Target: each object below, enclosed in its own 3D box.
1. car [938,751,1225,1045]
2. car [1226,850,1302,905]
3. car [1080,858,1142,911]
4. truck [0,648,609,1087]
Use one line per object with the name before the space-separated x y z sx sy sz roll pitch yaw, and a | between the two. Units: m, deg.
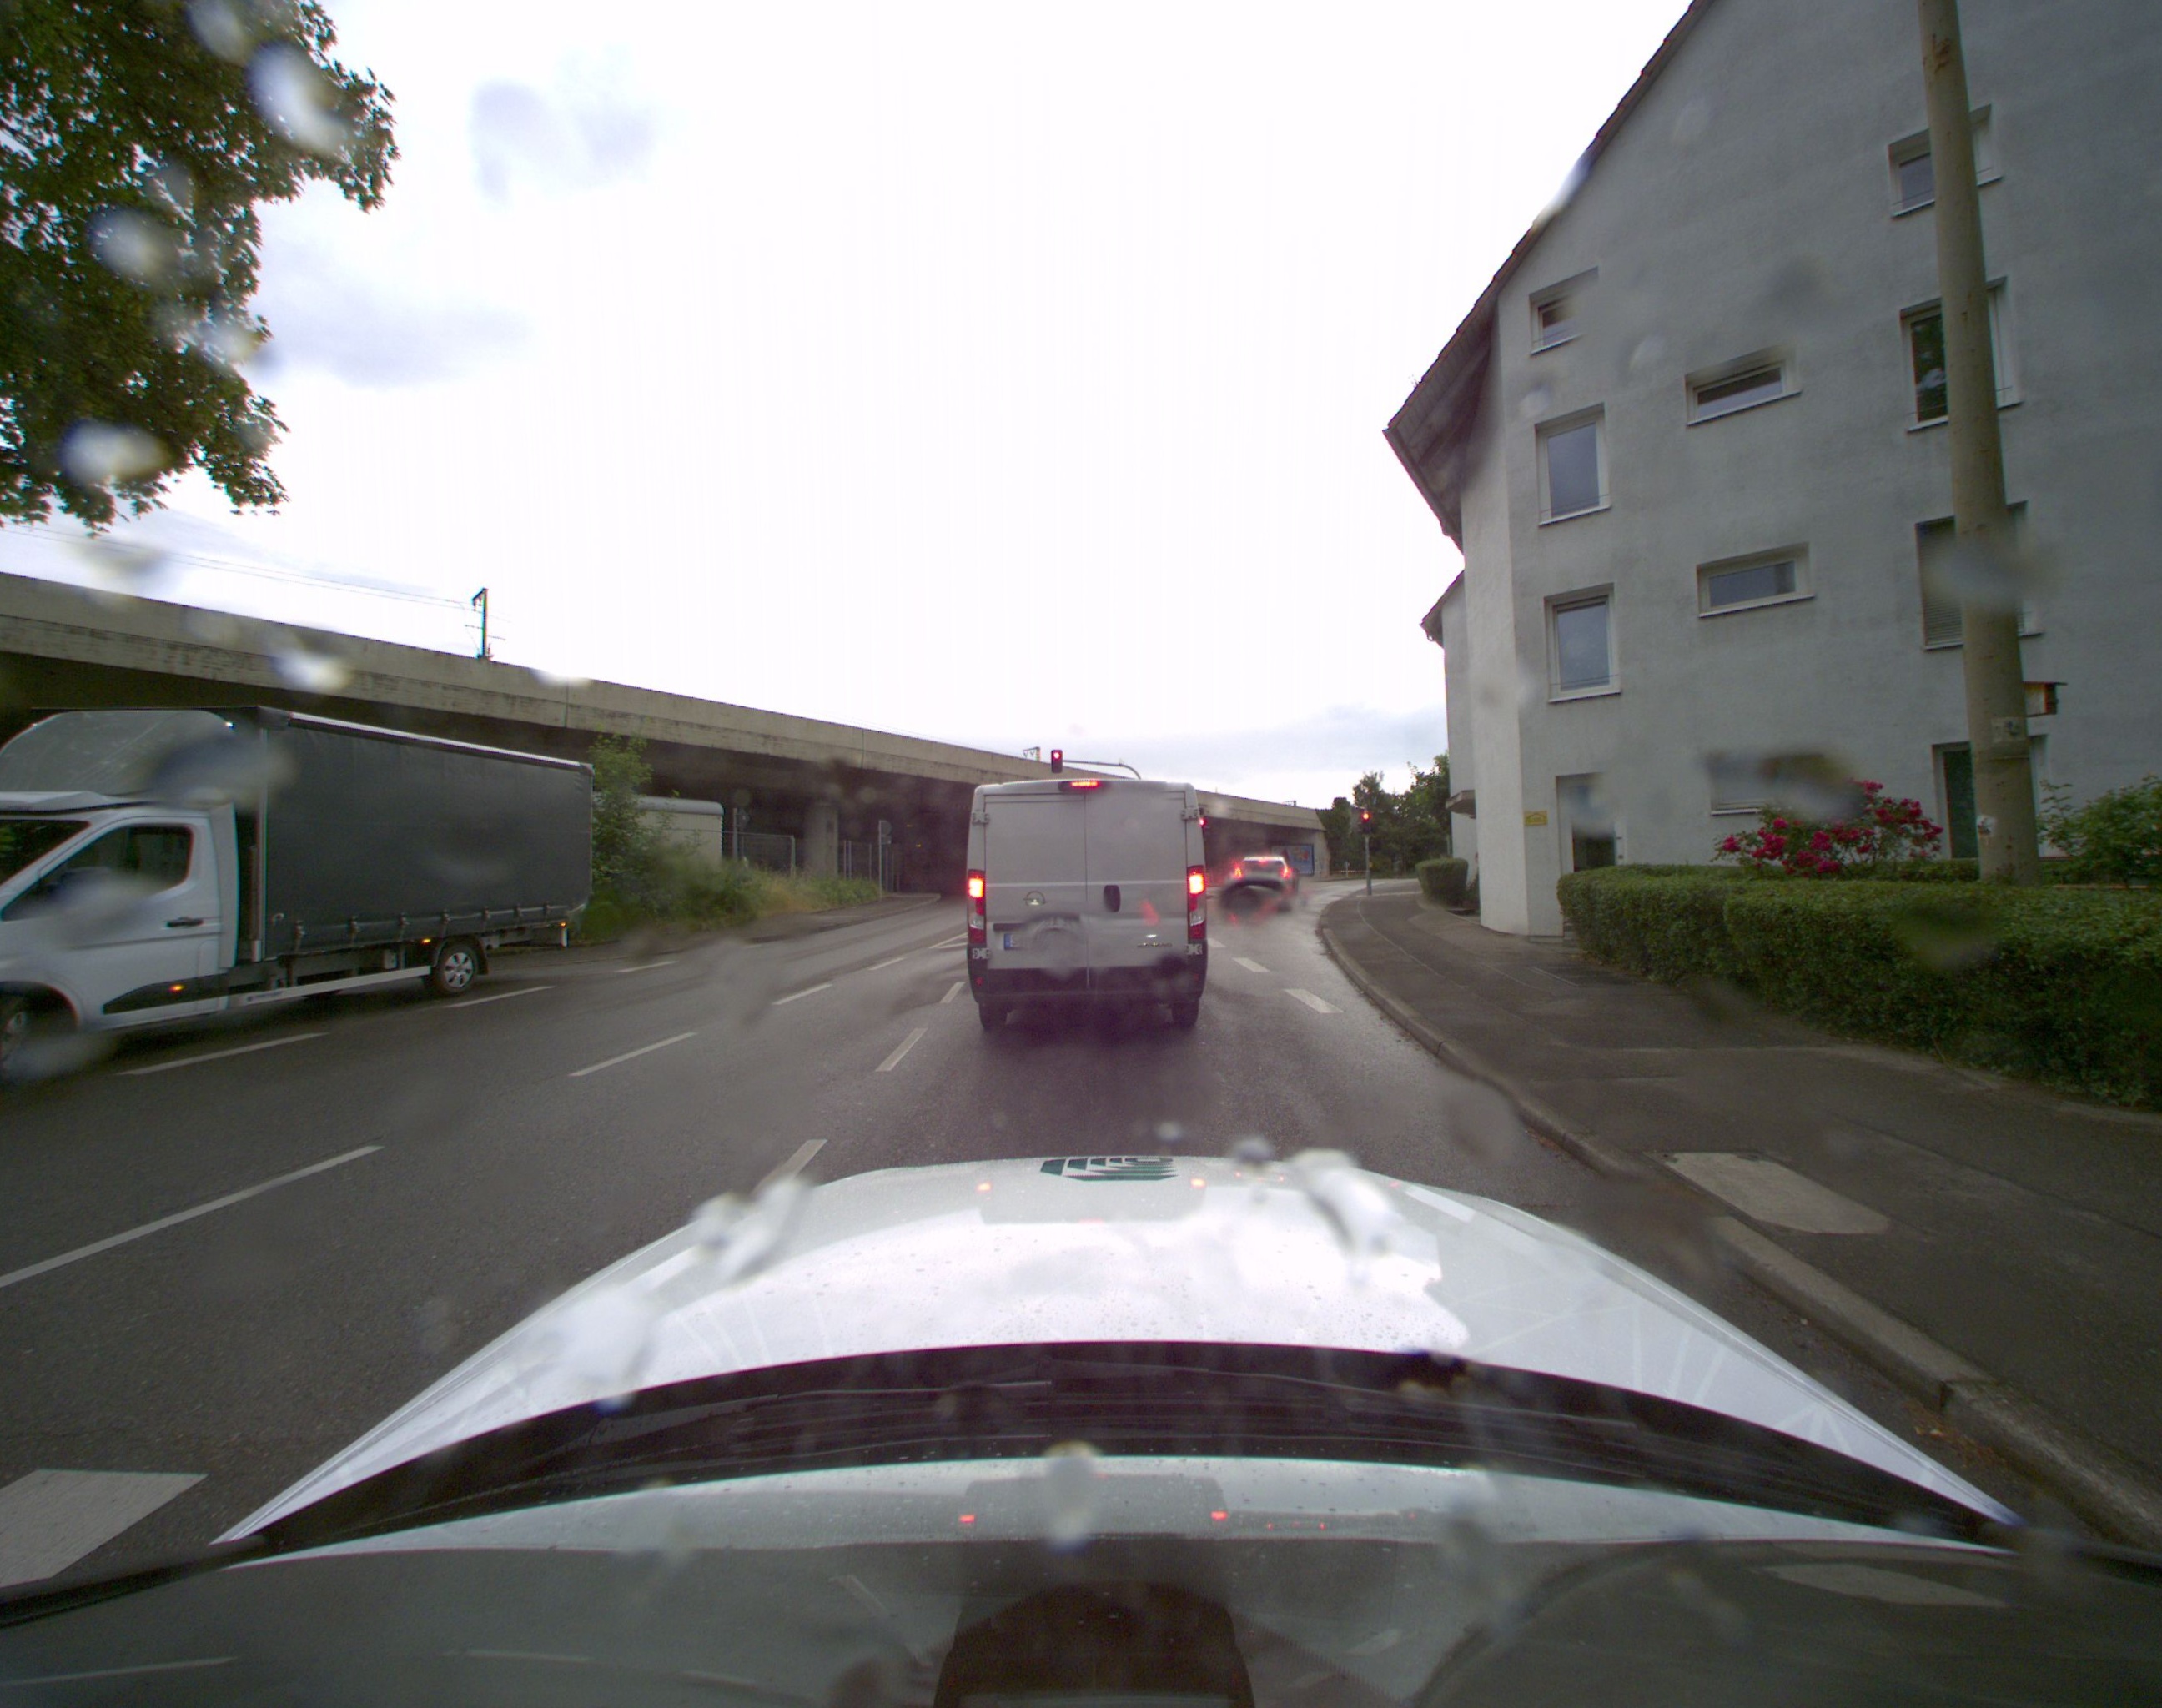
car | 0.044 0.377 9.289 2.297 2.343 5.282 -1 -1 1
car | 5.748 0.709 25.233 1.978 1.549 4.017 -2 -1 17
car | 1.127 1.071 29.025 1.984 1.729 4.004 -1 -2 5
truck | -9.079 0.178 9.188 2.599 3.237 7.782 -1 -1 3
